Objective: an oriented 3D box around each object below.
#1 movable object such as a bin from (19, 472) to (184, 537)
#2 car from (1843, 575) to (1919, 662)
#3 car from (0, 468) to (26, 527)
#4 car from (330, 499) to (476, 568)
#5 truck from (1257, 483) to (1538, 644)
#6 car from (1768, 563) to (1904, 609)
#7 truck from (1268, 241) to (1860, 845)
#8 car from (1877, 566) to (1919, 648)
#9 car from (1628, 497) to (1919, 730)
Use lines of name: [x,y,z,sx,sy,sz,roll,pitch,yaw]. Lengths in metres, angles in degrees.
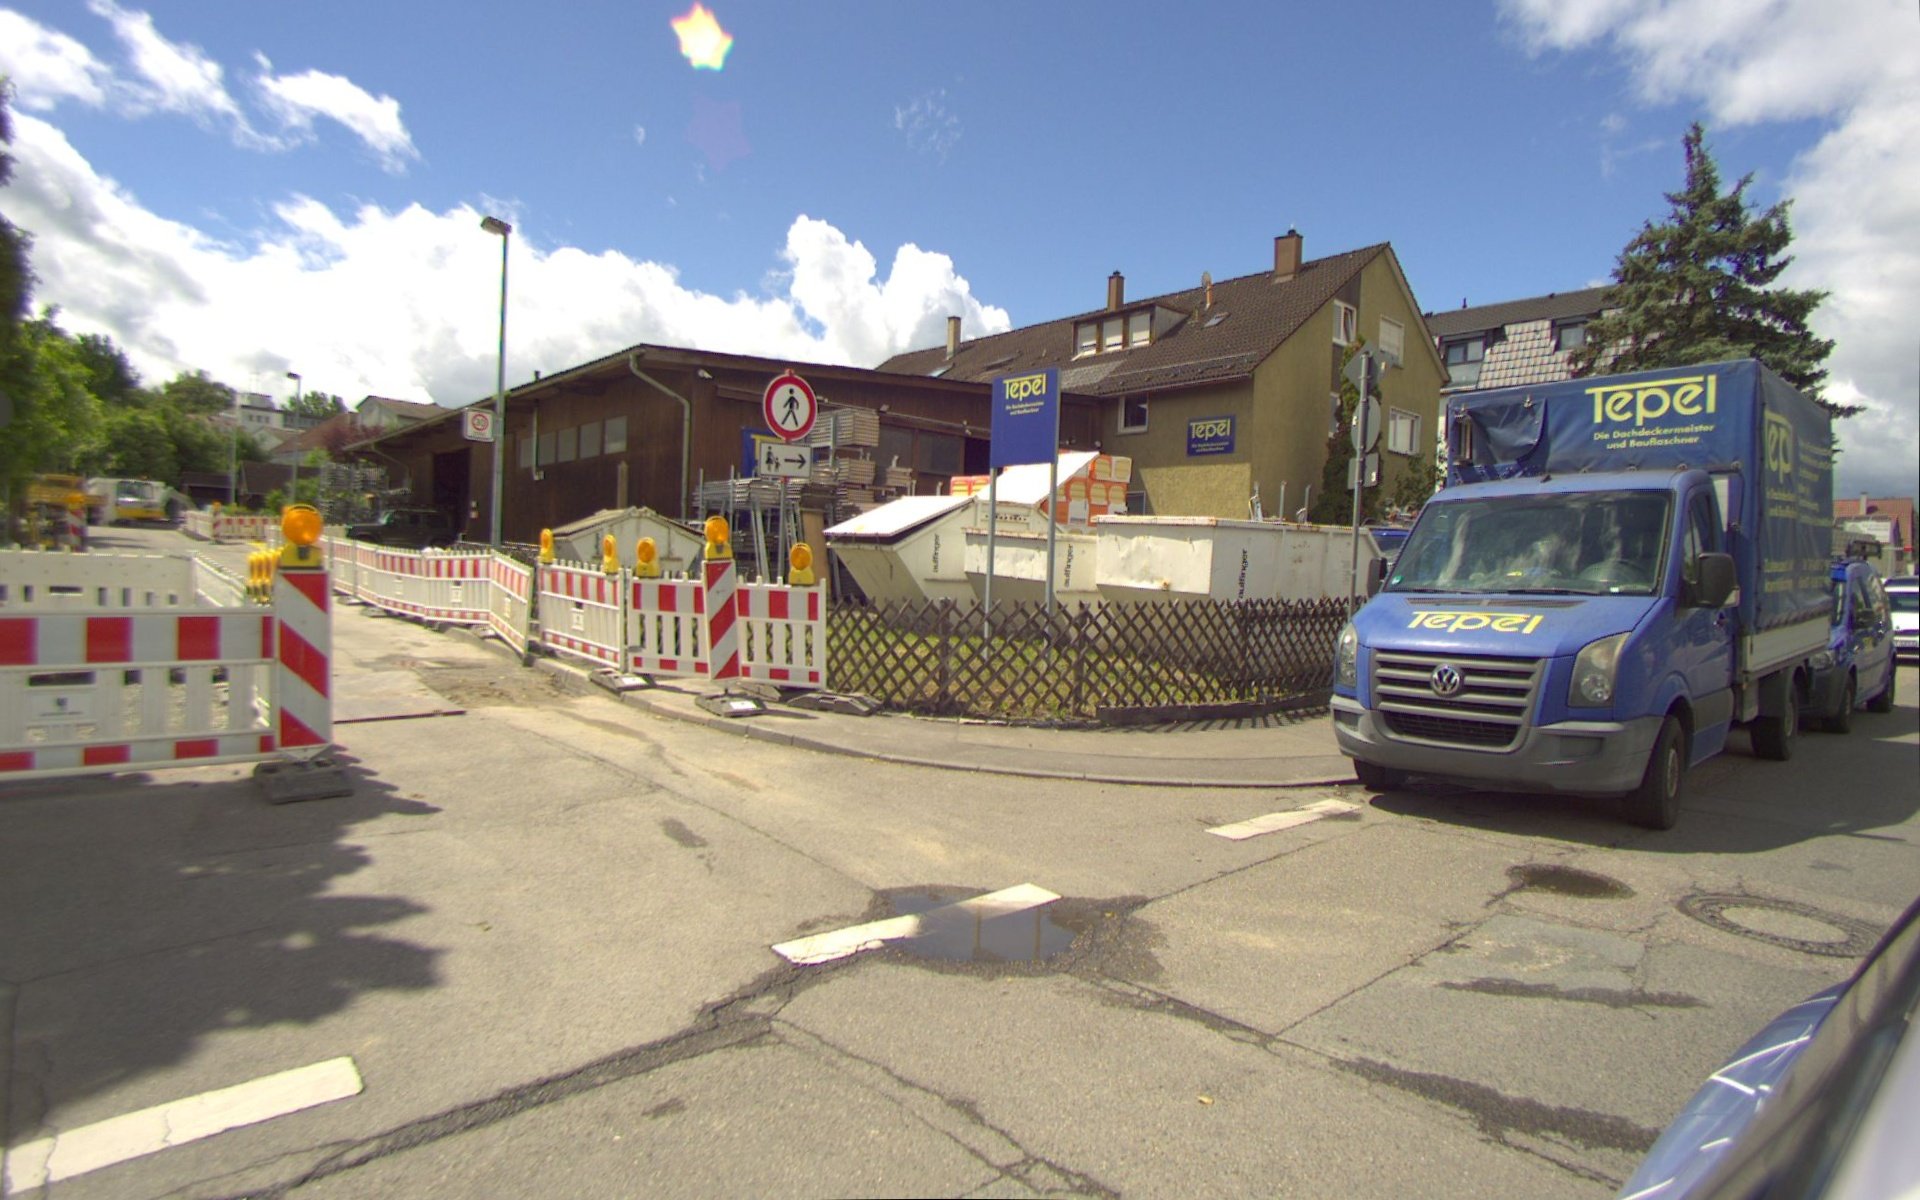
movable object such as a bin: [-45.983,-5.011,54.432,6.579,2.797,3.936,0,0,-41]
car: [18.565,0.328,19.506,3.930,1.526,1.777,0,3,-41]
car: [-55.640,-5.935,58.816,1.901,2.959,5.163,0,0,-42]
car: [-18.430,-2.134,33.553,3.930,2.039,1.906,0,0,-41]
truck: [6.948,-0.499,15.749,5.292,2.107,1.833,2,4,-42]
car: [38.534,-0.649,44.604,1.834,1.673,4.203,0,5,-41]
truck: [5.136,-0.313,8.090,5.936,3.136,2.324,0,0,-41]
car: [22.564,0.161,23.166,4.633,1.748,1.876,0,3,-43]
car: [9.516,0.117,11.683,4.386,2.196,1.877,0,0,-41]
